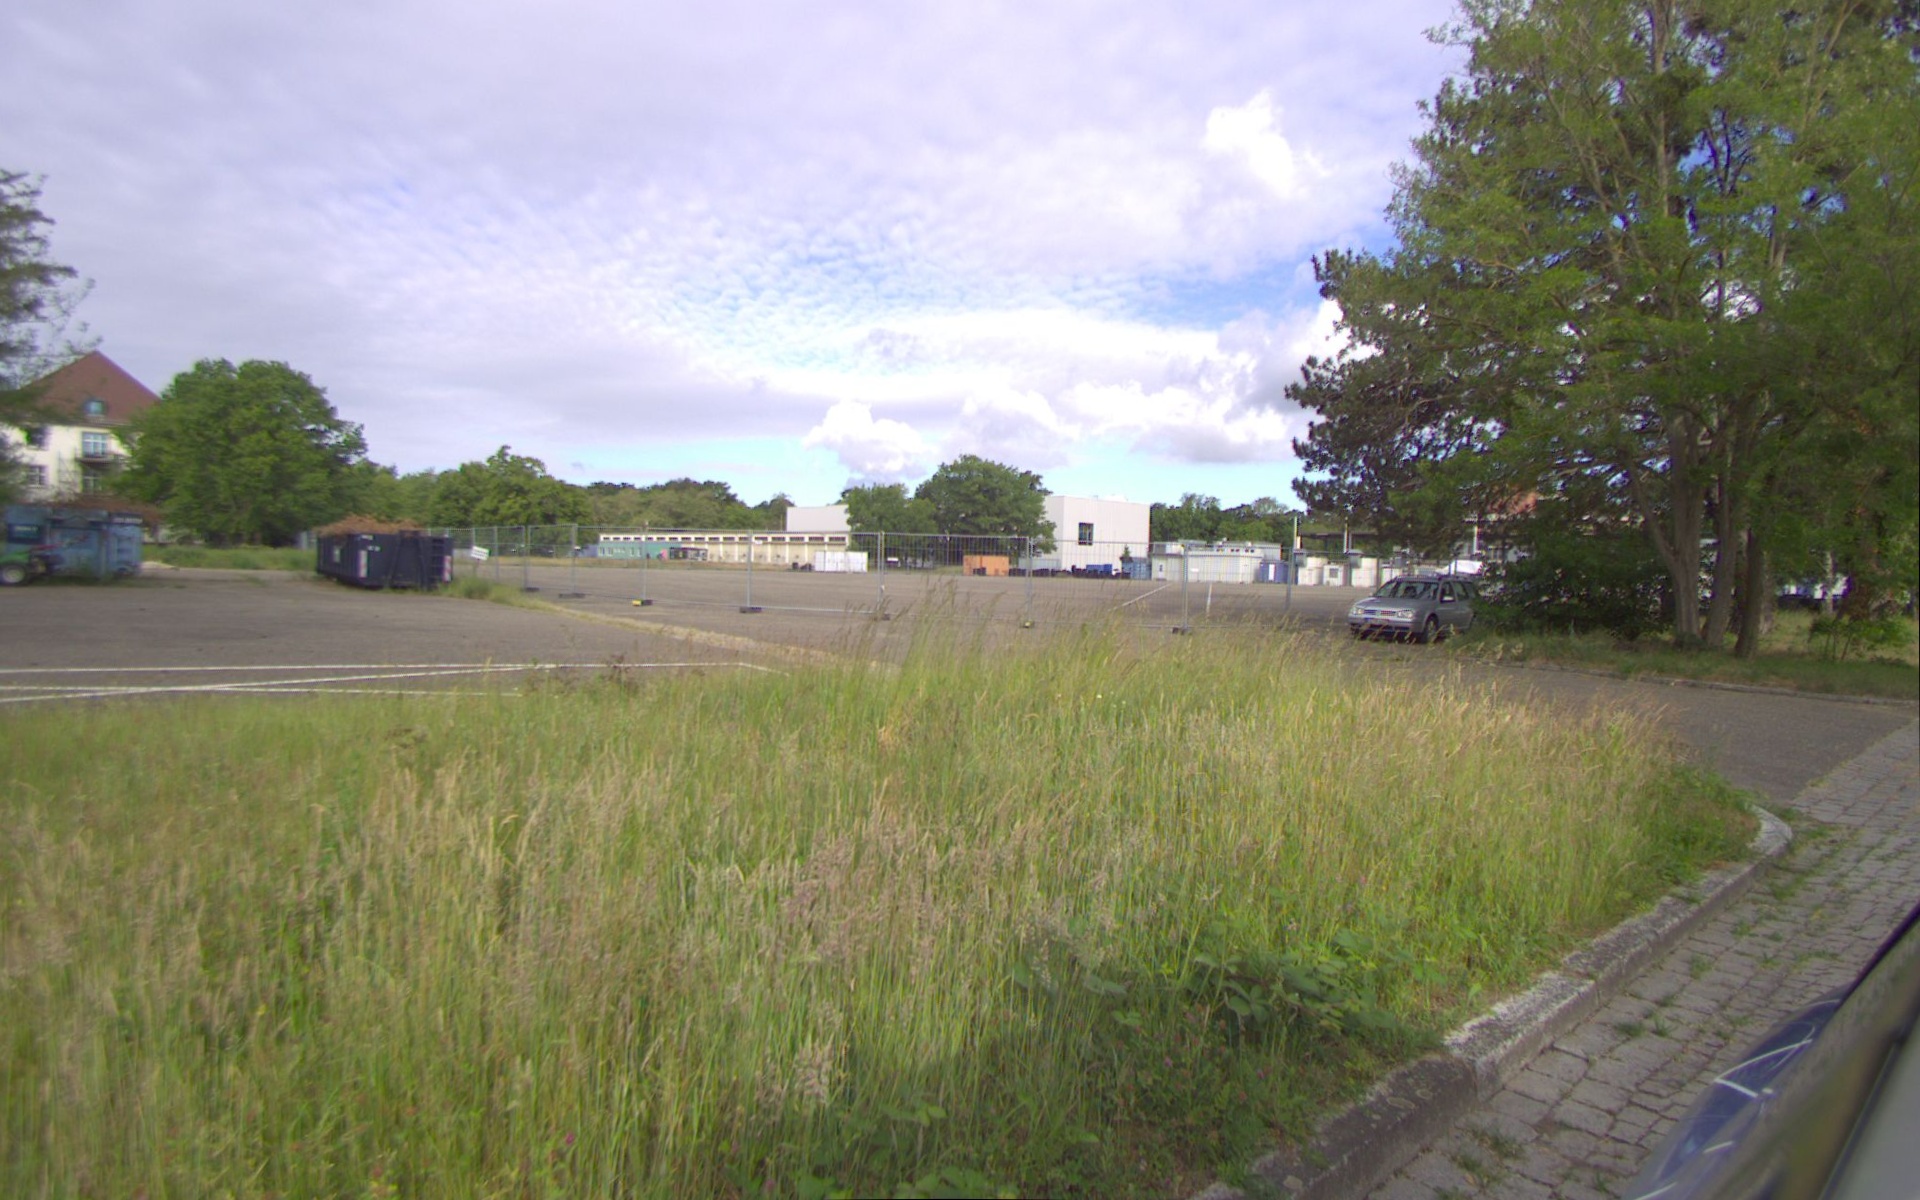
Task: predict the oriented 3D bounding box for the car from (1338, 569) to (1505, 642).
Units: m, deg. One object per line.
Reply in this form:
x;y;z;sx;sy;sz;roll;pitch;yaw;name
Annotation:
10.541;0.084;22.985;4.250;1.466;1.759;0;3;-40;car

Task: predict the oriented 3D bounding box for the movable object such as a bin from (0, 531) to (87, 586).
-20.194;-0.906;21.464;2.499;1.097;1.064;1;2;-42;movable object such as a bin
